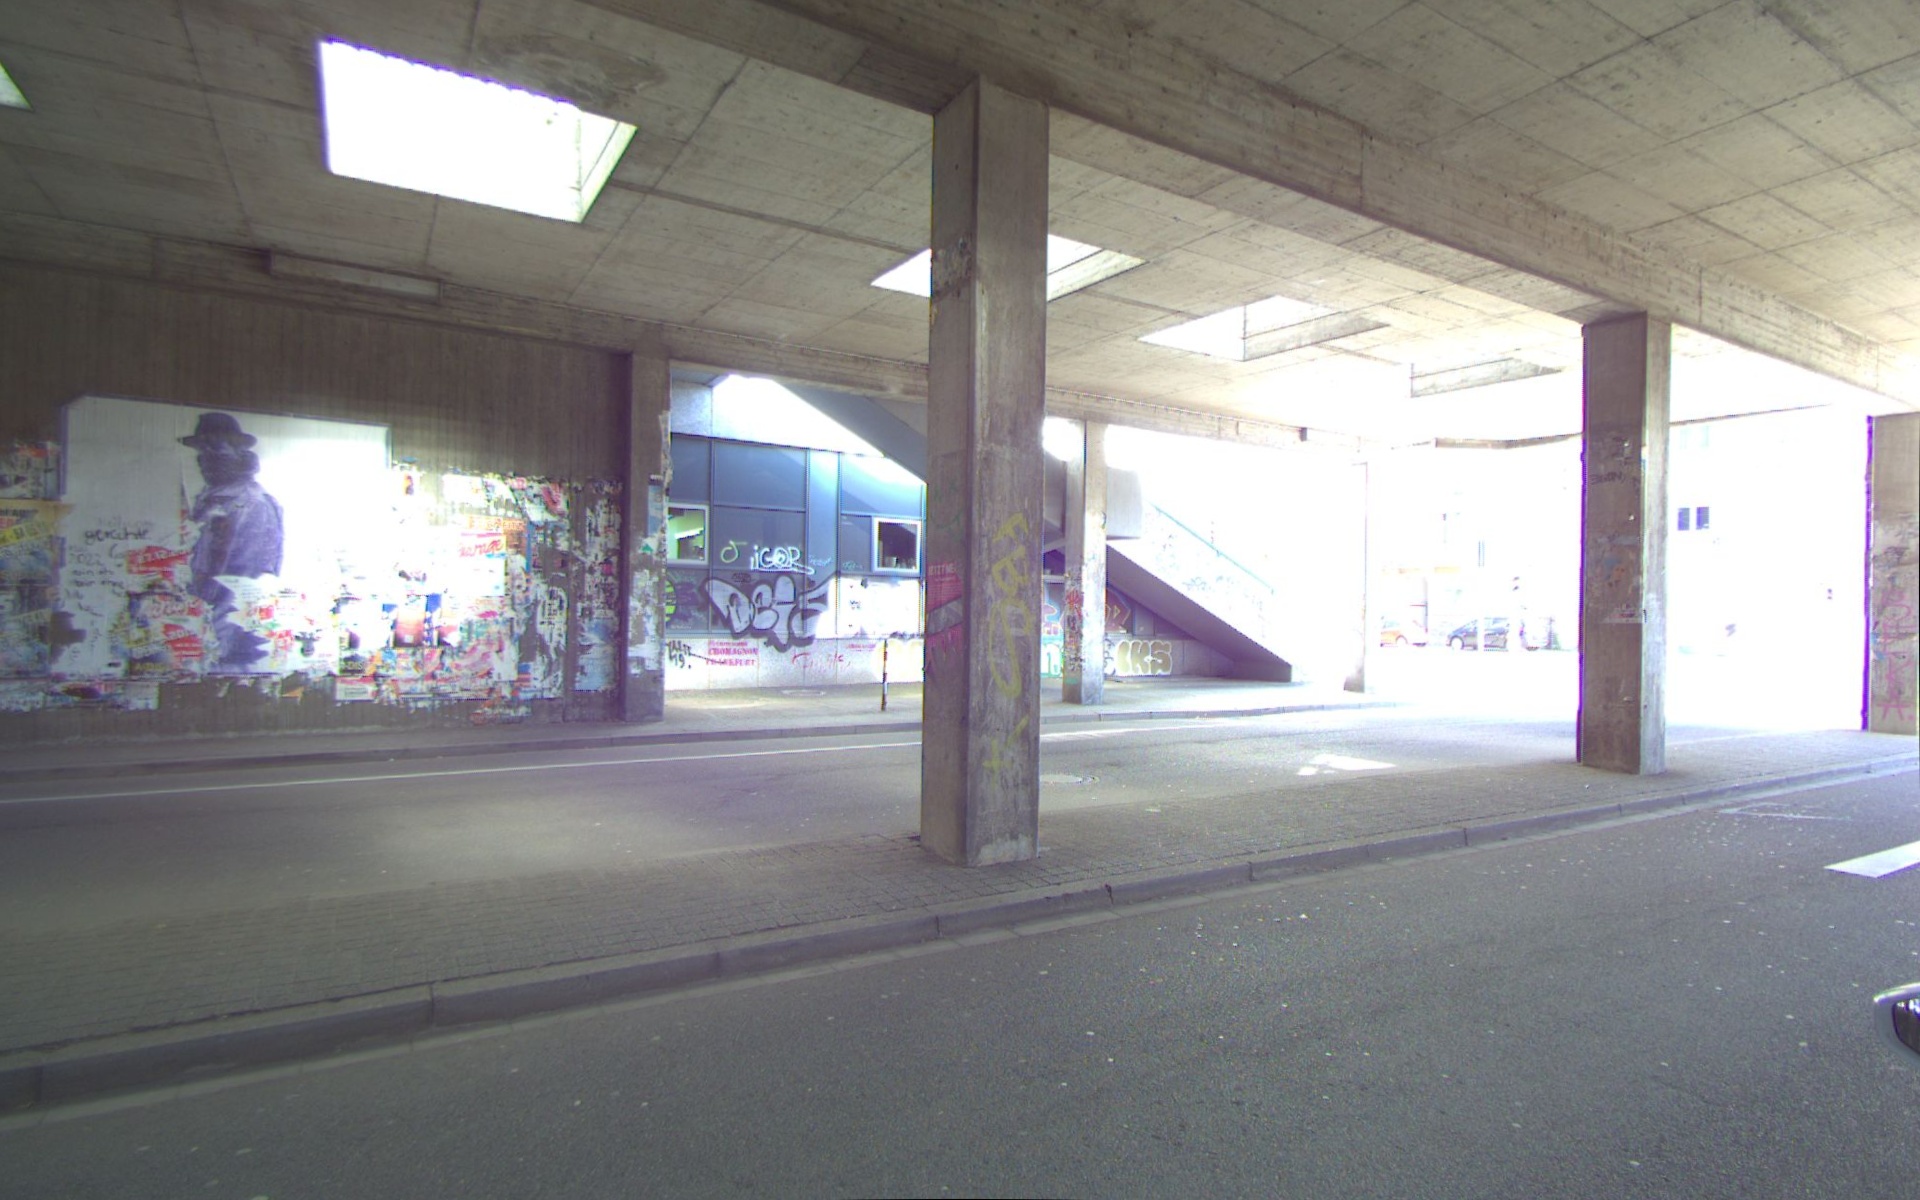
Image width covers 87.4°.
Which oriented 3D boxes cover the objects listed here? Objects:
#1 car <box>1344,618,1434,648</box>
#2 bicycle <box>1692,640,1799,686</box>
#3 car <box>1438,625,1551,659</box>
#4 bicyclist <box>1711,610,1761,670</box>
[{"bbox_3d":[22.454,1.719,52.742,1.905,1.428,3.965,2,0,-32],"label":"car"},{"bbox_3d":[19.186,1.520,24.596,0.708,1.063,1.986,2,-2,-22],"label":"bicycle"},{"bbox_3d":[25.368,1.971,47.789,1.905,1.428,4.382,2,0,-32],"label":"car"},{"bbox_3d":[19.130,0.995,24.773,0.675,1.442,0.736,2,-2,-23],"label":"bicyclist"}]
